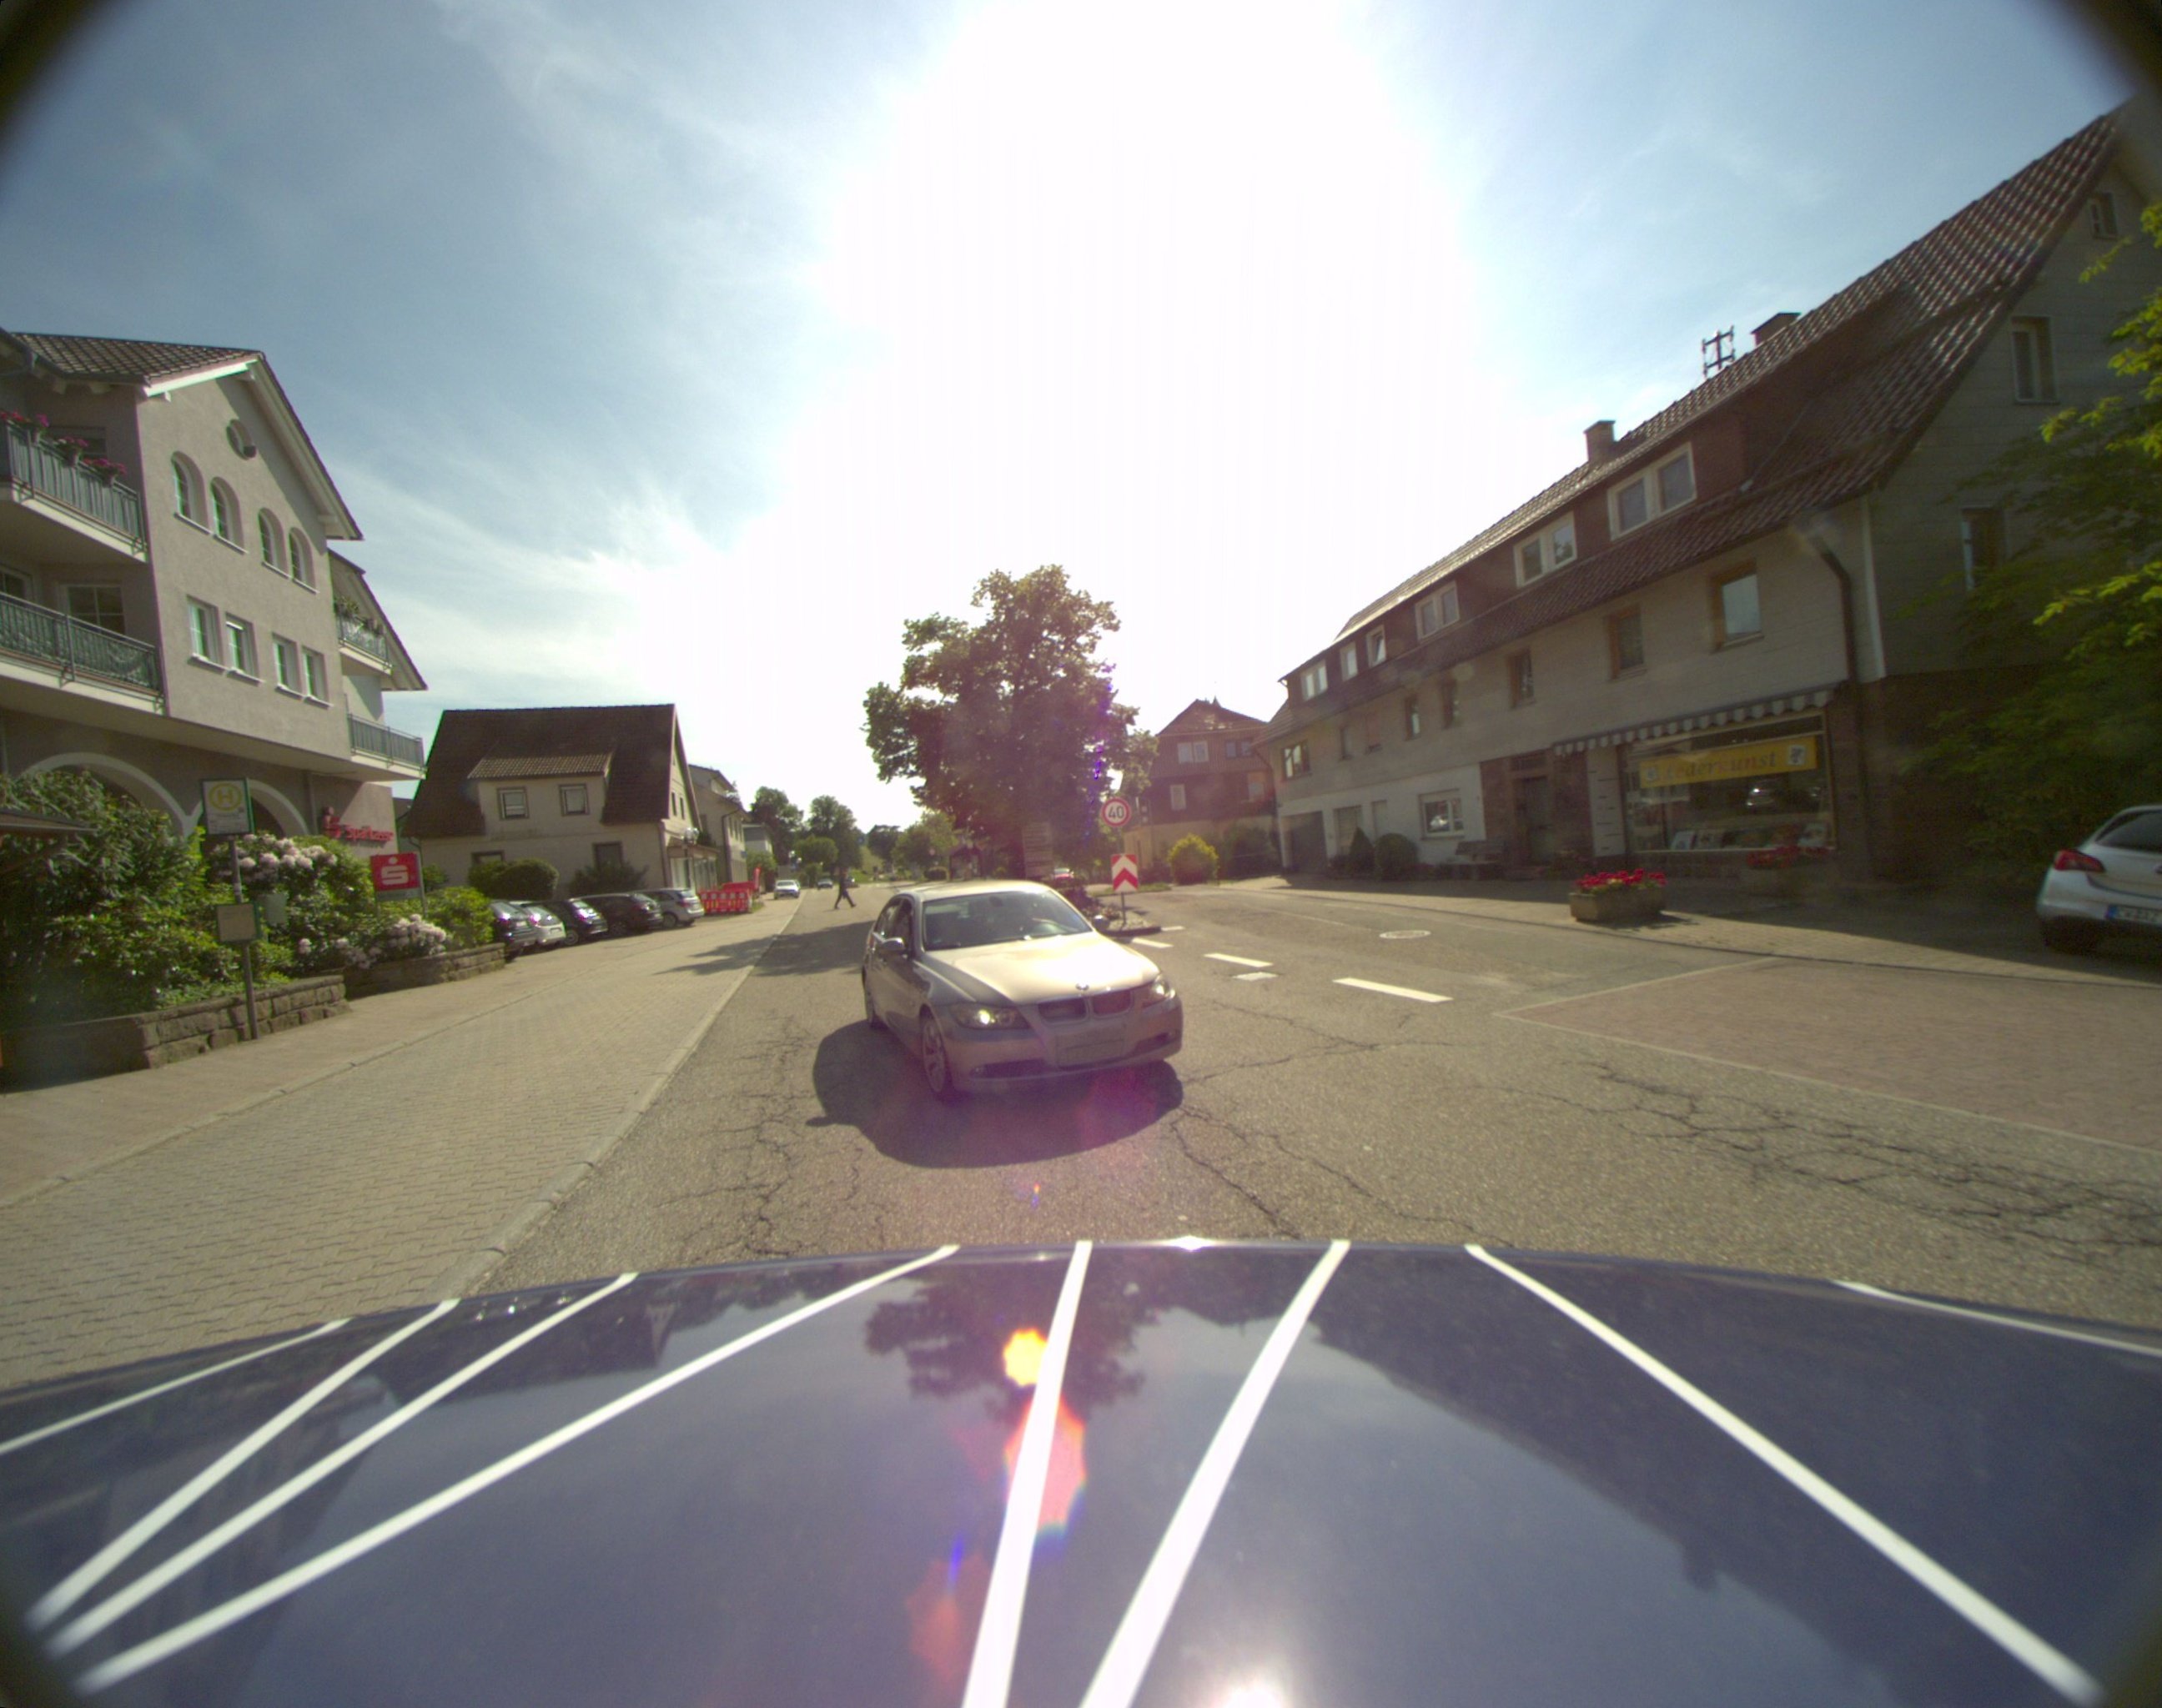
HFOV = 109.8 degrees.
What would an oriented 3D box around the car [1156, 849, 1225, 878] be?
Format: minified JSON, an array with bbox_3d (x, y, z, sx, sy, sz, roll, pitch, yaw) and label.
[{"bbox_3d":[7.617,0.630,52.999,4.315,1.503,1.798,-6,2,-9],"label":"car"}]

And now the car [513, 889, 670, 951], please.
[{"bbox_3d":[-16.566,2.206,25.900,3.999,1.540,1.737,-6,0,-8],"label":"car"}]

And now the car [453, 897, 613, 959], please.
[{"bbox_3d":[-16.802,2.235,23.473,3.570,1.410,1.581,-5,0,-11],"label":"car"}]

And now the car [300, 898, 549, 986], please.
[{"bbox_3d":[-15.468,2.019,18.192,4.002,1.539,1.878,-4,0,-16],"label":"car"}]

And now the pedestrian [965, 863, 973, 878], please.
[{"bbox_3d":[-10.026,1.479,67.947,0.631,1.245,0.423,-3,0,-21],"label":"pedestrian"}]

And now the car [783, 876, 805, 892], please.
[{"bbox_3d":[-28.849,3.004,76.524,1.767,1.414,3.629,-3,0,-16],"label":"car"}]

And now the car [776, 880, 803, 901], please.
[{"bbox_3d":[-22.369,2.743,58.319,1.642,1.411,3.928,-4,0,-24],"label":"car"}]

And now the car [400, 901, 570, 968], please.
[{"bbox_3d":[-16.343,2.177,20.994,3.244,1.460,1.627,-4,0,-11],"label":"car"}]

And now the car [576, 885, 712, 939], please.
[{"bbox_3d":[-16.334,2.137,28.578,3.873,1.549,1.962,-5,0,-6],"label":"car"}]

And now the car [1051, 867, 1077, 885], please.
[{"bbox_3d":[-1.369,1.690,59.663,1.726,1.289,3.999,-3,0,-4],"label":"car"}]

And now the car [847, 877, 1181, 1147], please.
[{"bbox_3d":[-1.001,0.957,6.701,1.841,1.360,4.575,-4,0,-19],"label":"car"}]

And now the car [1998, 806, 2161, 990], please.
[{"bbox_3d":[10.805,0.312,6.602,3.771,1.447,1.815,-3,5,-7],"label":"car"}]

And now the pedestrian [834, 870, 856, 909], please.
[{"bbox_3d":[-11.178,1.672,35.993,0.802,1.774,0.978,-4,0,-14],"label":"pedestrian"}]
